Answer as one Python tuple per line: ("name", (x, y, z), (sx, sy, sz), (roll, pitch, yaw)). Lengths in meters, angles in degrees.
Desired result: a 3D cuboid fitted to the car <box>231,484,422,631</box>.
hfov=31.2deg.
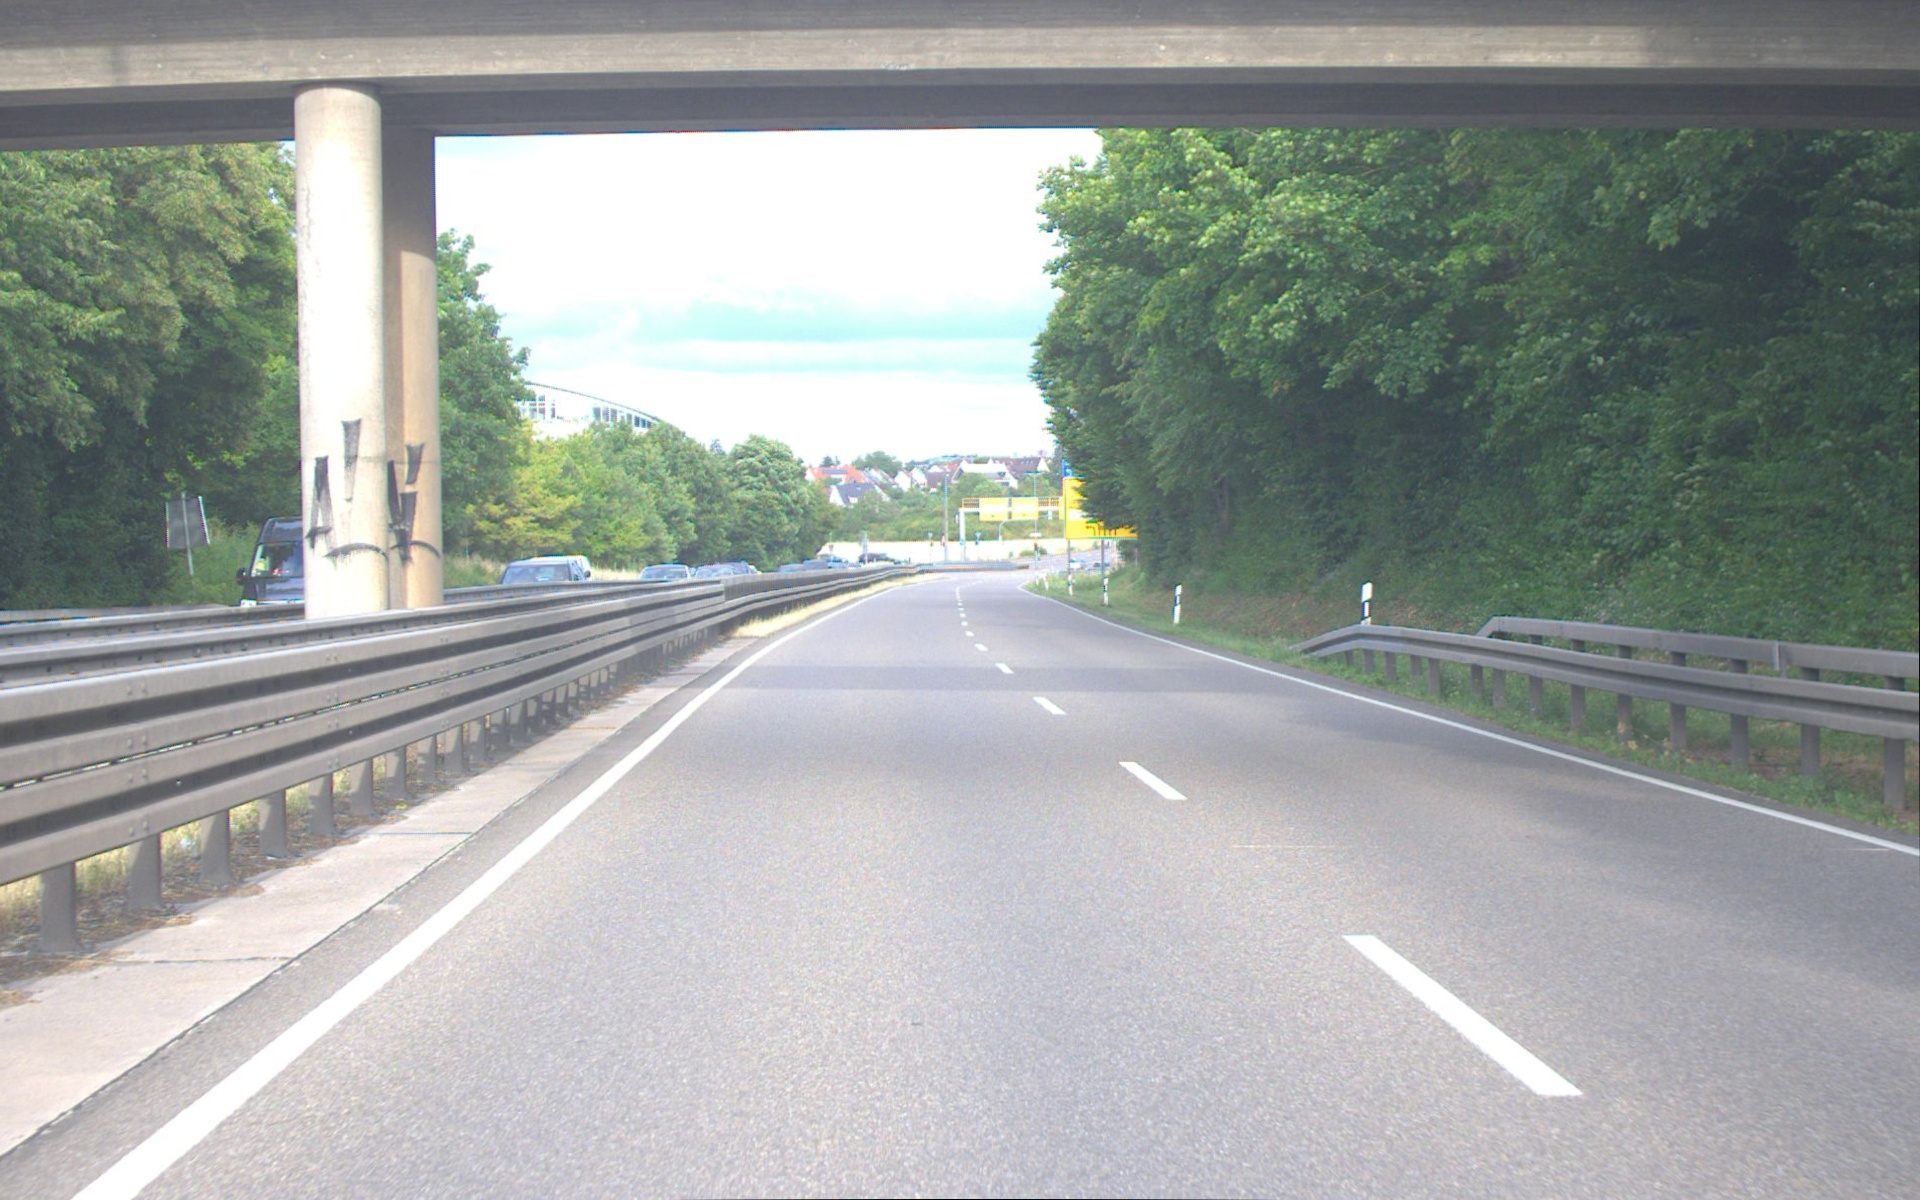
("car", (-11.511, -0.788, 63.030), (2.249, 2.528, 6.941), (0, 1, 0))
